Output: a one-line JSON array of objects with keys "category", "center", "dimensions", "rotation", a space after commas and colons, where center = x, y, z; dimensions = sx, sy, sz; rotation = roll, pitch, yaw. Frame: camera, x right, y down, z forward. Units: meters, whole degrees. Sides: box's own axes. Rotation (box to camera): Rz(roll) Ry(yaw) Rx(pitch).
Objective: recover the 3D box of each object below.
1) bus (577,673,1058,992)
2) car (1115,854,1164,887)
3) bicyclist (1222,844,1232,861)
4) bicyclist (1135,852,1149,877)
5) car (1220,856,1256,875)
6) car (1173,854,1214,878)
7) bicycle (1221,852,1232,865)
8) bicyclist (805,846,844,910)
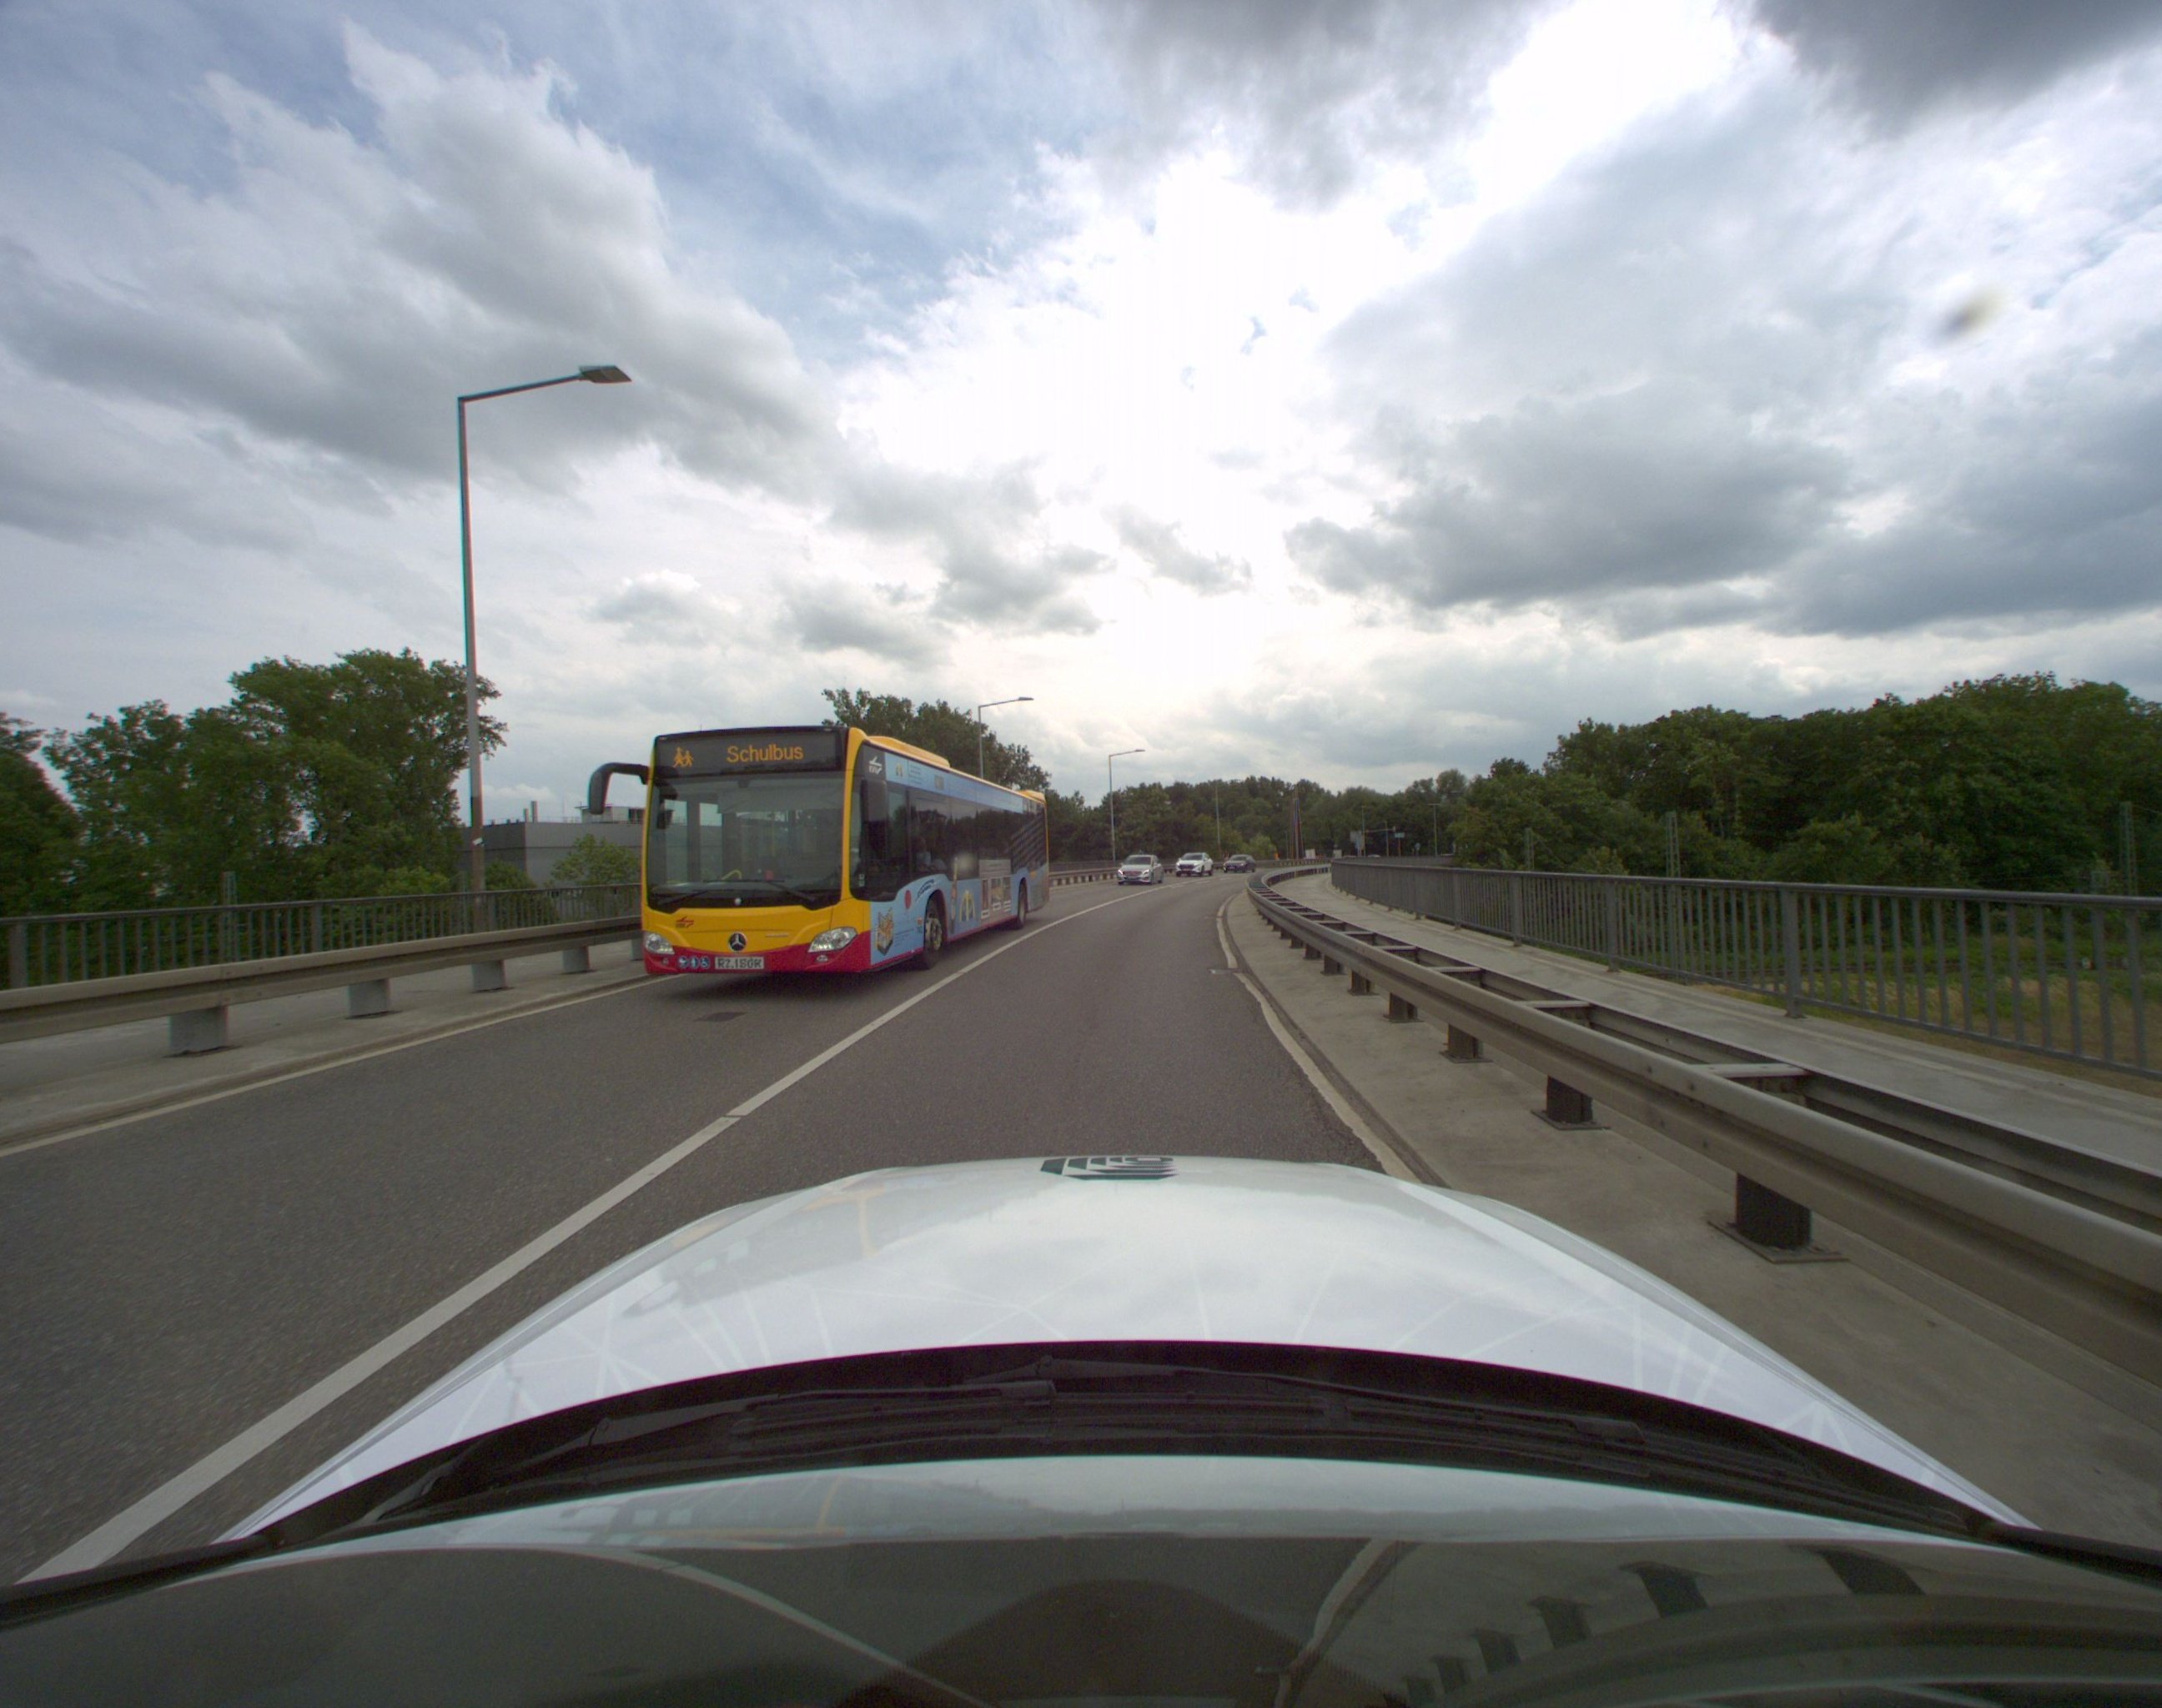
[{"category": "bus", "center": [-2.953, -0.124, 14.851], "dimensions": [3.015, 3.233, 12.977], "rotation": [0, -1, 8]}, {"category": "car", "center": [3.150, 0.864, 43.092], "dimensions": [1.804, 1.620, 4.415], "rotation": [-1, -1, 15]}, {"category": "bicyclist", "center": [14.269, -0.153, 79.507], "dimensions": [0.764, 1.631, 0.653], "rotation": [-1, -2, 25]}, {"category": "bicyclist", "center": [4.510, 0.788, 60.364], "dimensions": [0.842, 1.808, 0.800], "rotation": [-1, -1, 15]}, {"category": "car", "center": [12.900, 0.946, 66.797], "dimensions": [1.792, 1.477, 4.408], "rotation": [-1, -1, 26]}, {"category": "car", "center": [7.785, 0.829, 55.940], "dimensions": [1.925, 1.593, 4.795], "rotation": [-1, -1, 18]}, {"category": "bicycle", "center": [14.246, 0.455, 79.499], "dimensions": [0.629, 1.174, 1.916], "rotation": [-1, -1, 23]}, {"category": "bicyclist", "center": [-6.237, 0.580, 19.815], "dimensions": [0.606, 1.540, 0.760], "rotation": [-1, -1, 12]}]
